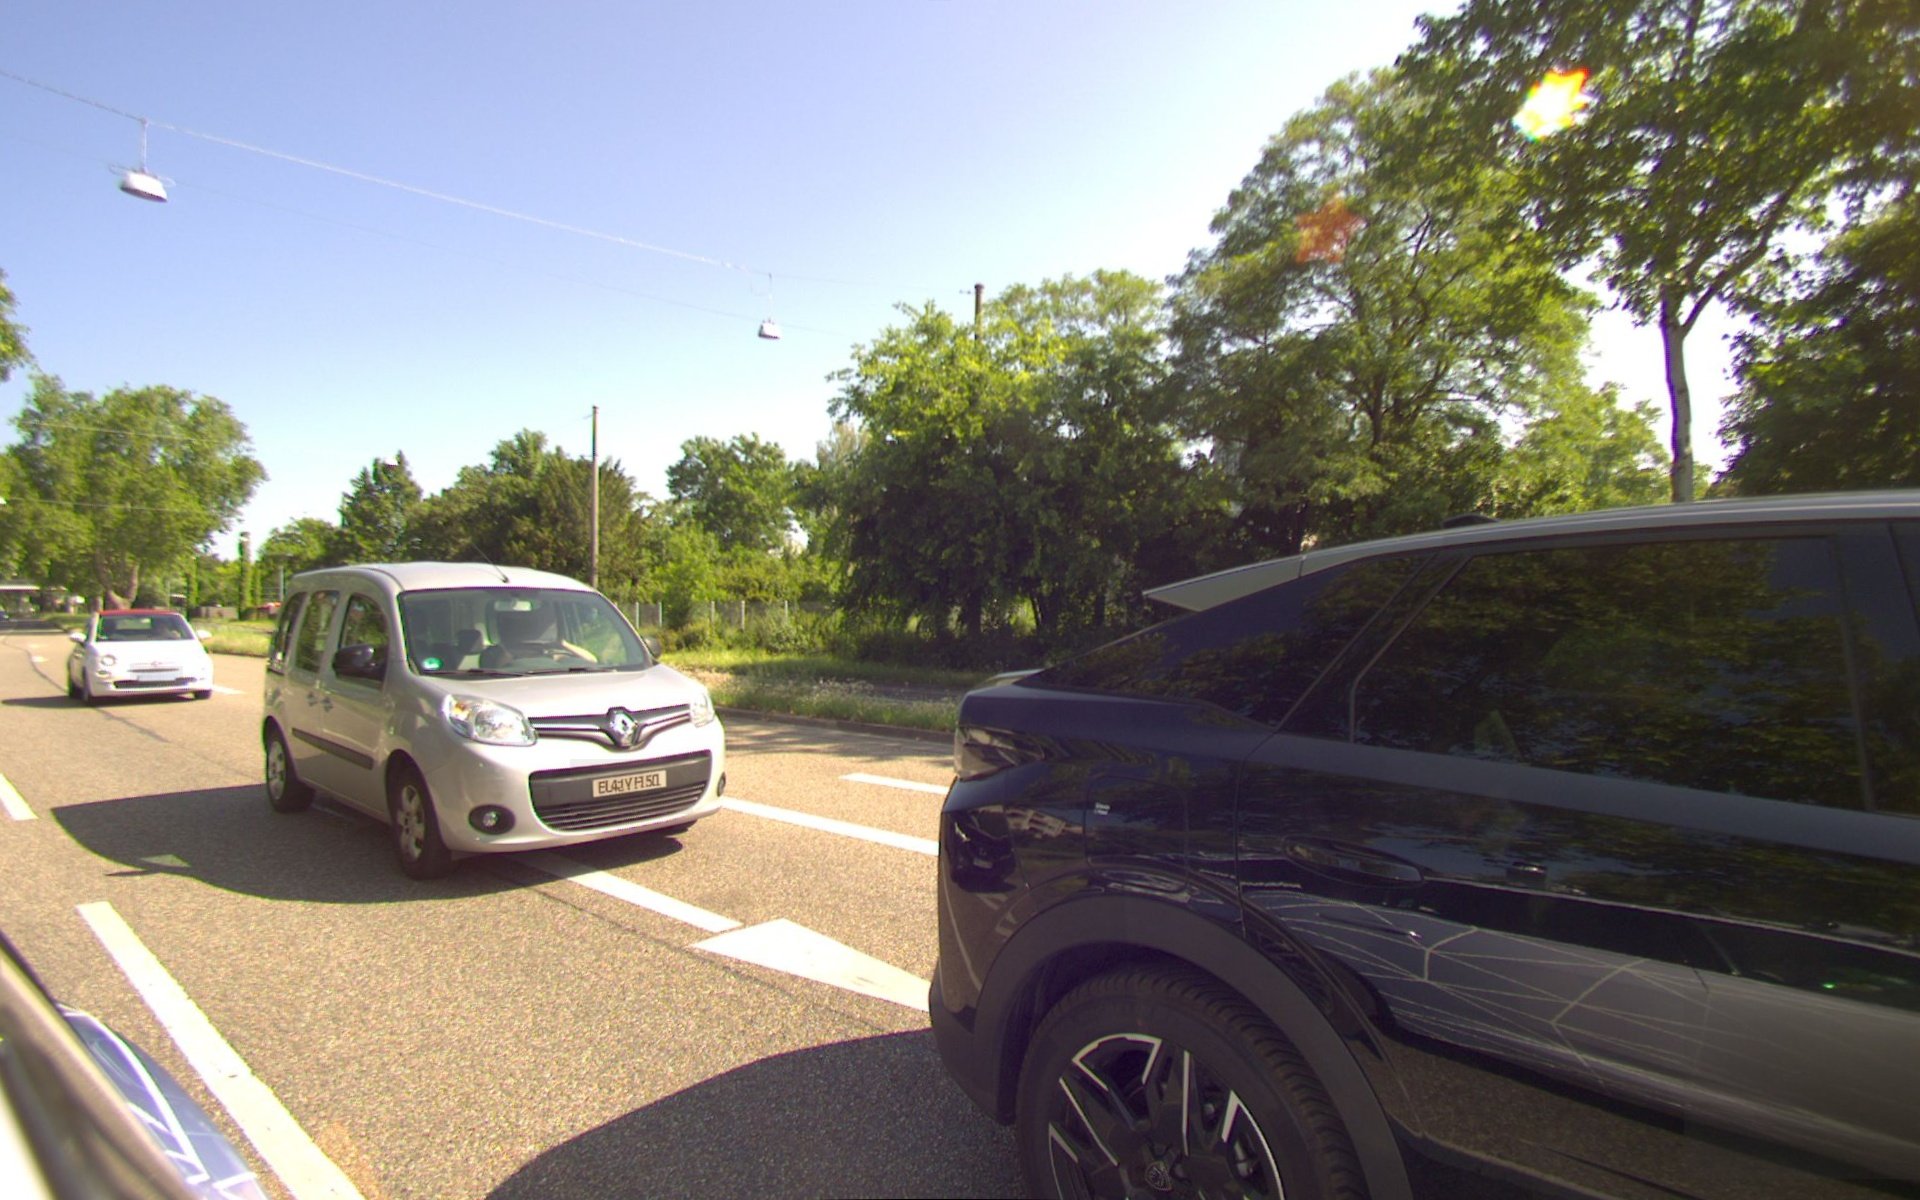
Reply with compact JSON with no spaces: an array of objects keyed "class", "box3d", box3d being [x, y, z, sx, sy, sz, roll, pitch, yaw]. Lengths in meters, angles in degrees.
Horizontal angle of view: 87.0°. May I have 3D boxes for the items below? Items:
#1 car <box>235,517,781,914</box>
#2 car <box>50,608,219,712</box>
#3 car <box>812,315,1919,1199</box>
[{"class":"car","box3d":[-3.301,0.570,6.910,4.375,1.854,1.852,-1,-1,43]},{"class":"car","box3d":[-14.131,0.928,17.229,4.376,1.502,1.666,-1,0,43]},{"class":"car","box3d":[1.922,0.532,1.619,4.433,1.709,1.853,-1,-1,41]}]
